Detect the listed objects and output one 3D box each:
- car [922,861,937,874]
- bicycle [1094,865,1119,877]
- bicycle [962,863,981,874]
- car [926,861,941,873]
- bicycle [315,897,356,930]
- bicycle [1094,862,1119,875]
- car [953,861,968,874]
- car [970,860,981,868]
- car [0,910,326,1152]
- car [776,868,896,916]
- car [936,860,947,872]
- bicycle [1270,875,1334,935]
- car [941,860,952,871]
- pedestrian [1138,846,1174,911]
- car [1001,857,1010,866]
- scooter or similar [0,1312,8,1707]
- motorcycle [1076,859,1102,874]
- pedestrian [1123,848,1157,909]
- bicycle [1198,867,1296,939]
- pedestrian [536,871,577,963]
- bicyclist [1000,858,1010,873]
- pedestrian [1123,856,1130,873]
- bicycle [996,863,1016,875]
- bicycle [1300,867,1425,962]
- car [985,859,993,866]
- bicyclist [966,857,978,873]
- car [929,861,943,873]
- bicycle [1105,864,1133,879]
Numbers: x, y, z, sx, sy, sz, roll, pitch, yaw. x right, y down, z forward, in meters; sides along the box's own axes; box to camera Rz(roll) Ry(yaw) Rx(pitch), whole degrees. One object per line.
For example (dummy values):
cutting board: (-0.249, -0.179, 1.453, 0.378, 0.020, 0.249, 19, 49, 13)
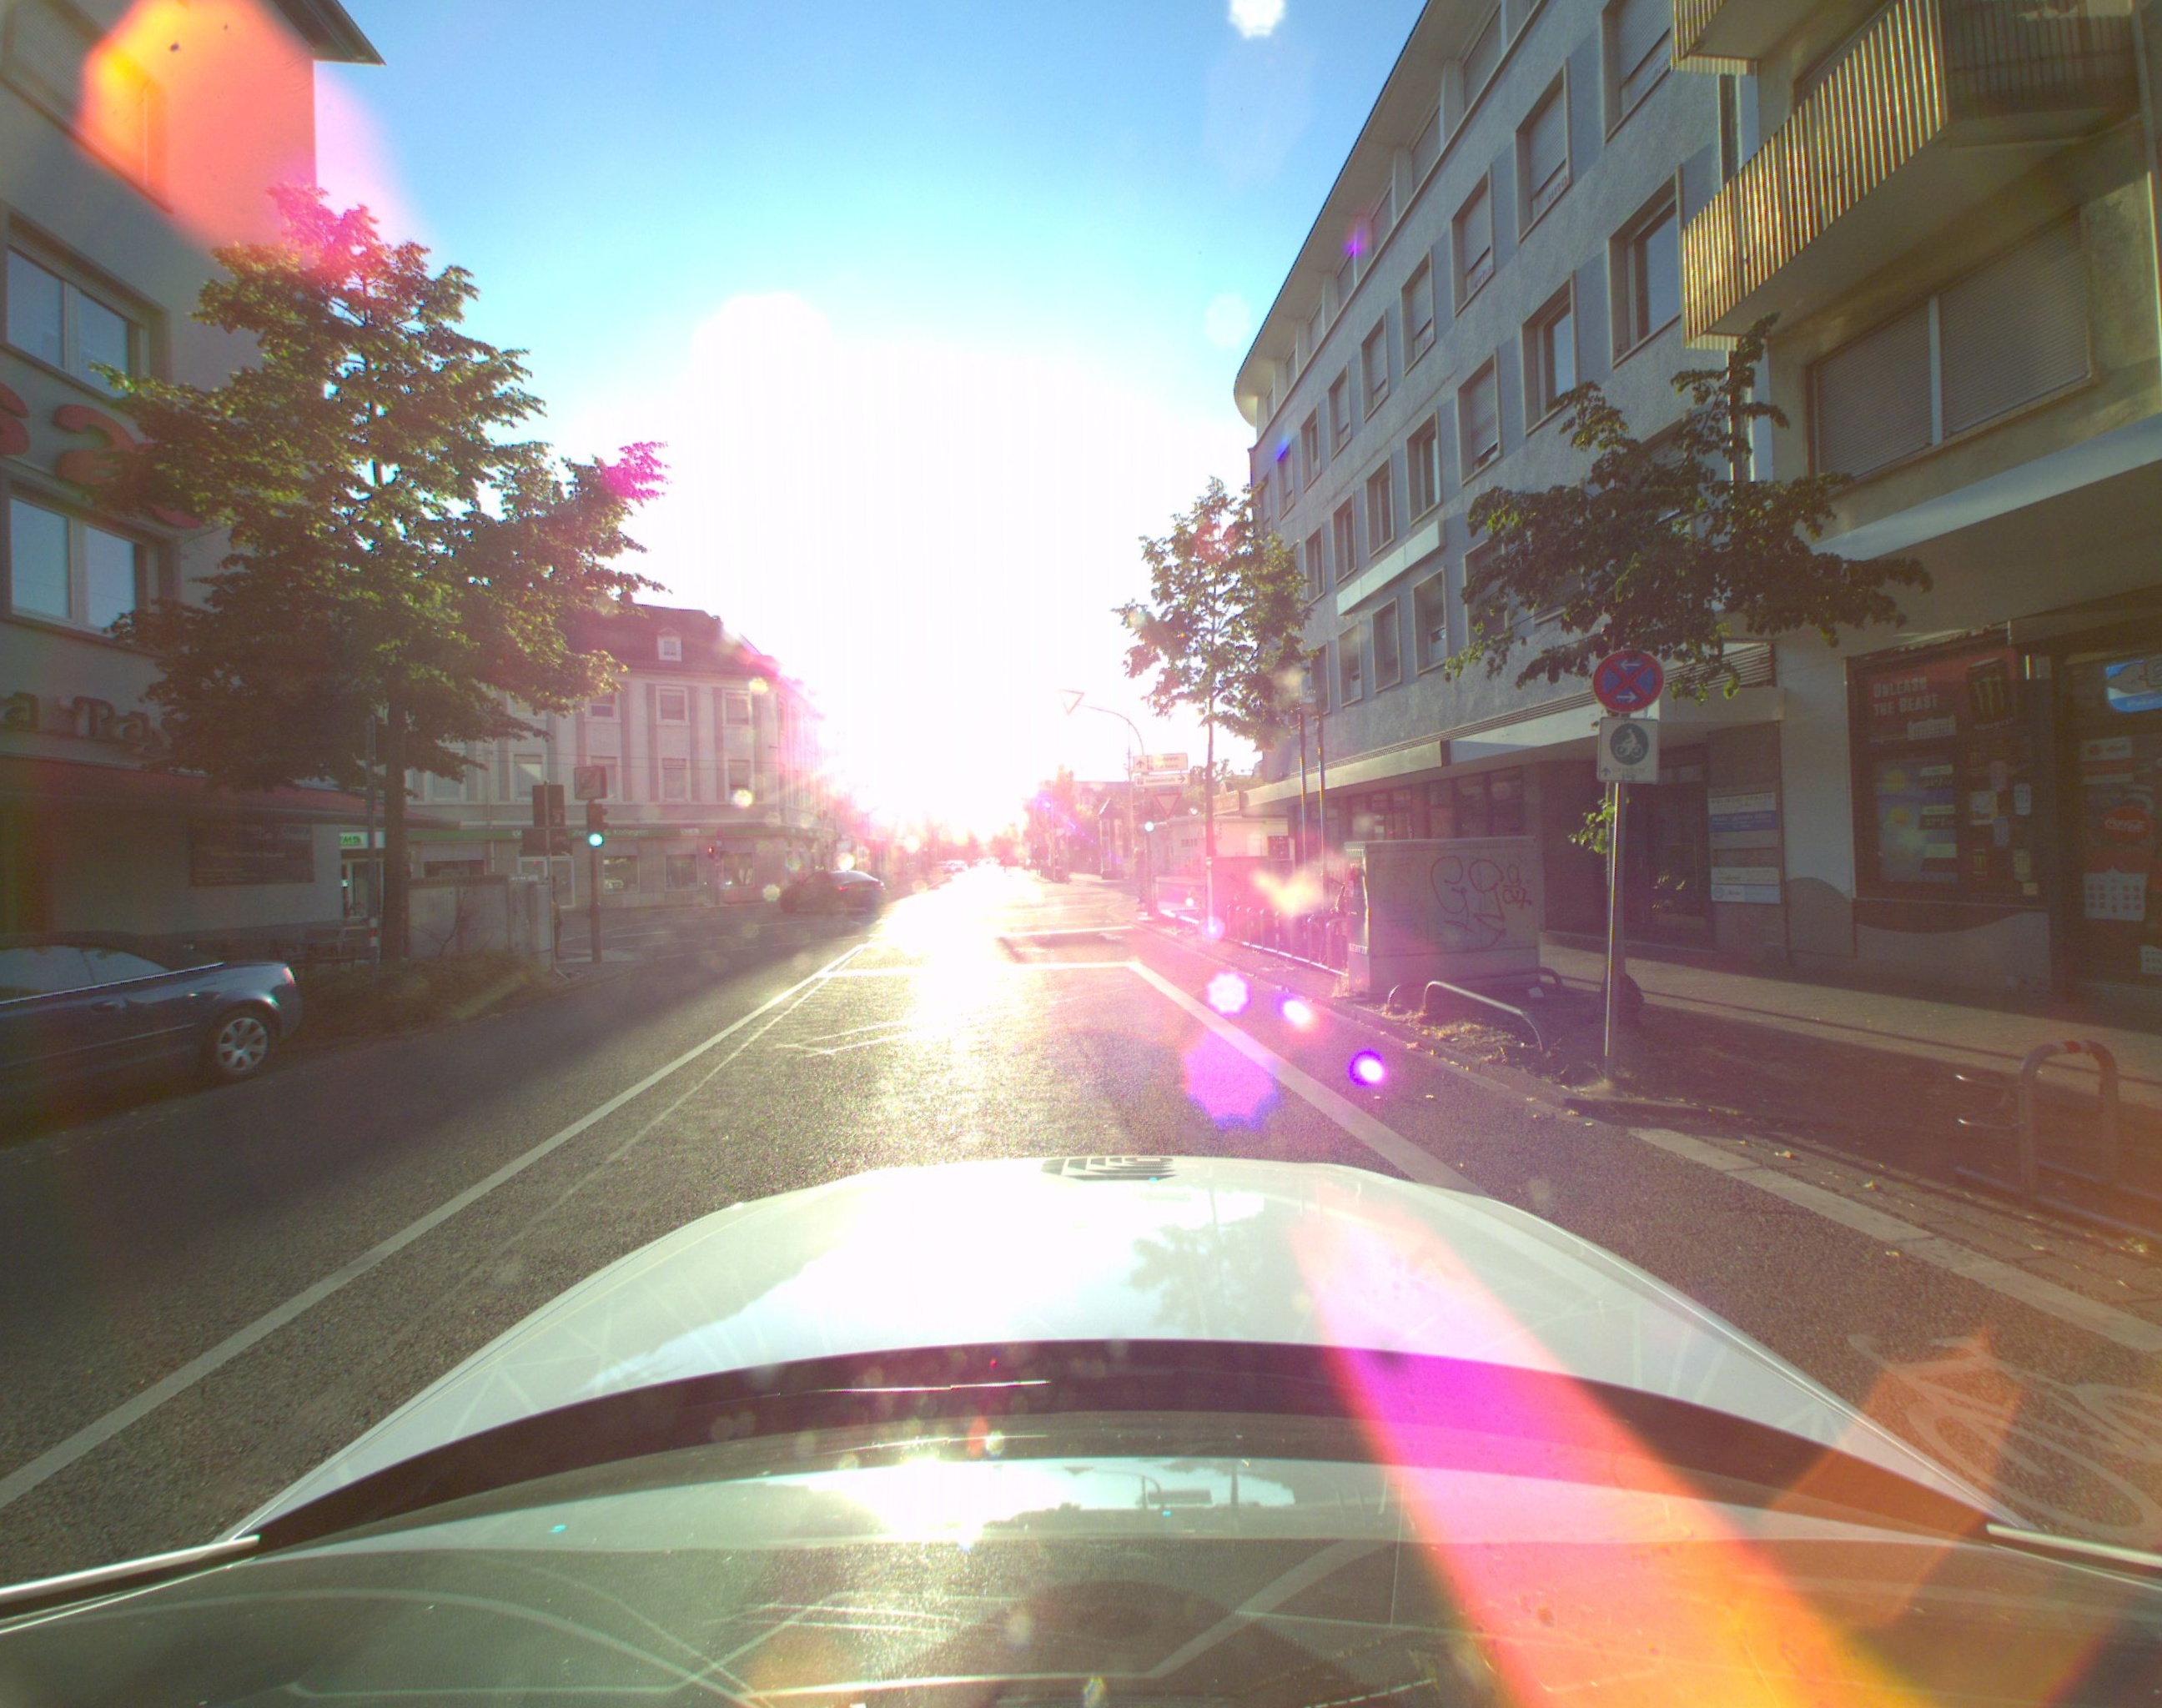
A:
car: (-18.035, 1.601, 97.009, 1.544, 1.483, 3.343, -2, 0, -7)
bicycle: (2.123, 1.398, 67.380, 2.070, 0.982, 0.560, -2, -1, 1)
bicycle: (-12.064, 1.638, 89.732, 2.102, 1.204, 0.502, -1, -1, 15)
car: (-18.249, 1.618, 100.645, 1.543, 1.469, 3.343, -1, -1, -7)
bicycle: (-27.134, 2.145, 29.673, 0.499, 1.059, 1.730, -1, 0, -21)
bicycle: (2.161, 1.236, 68.895, 2.031, 0.977, 0.560, -2, -1, 1)
car: (-14.327, 1.574, 96.864, 1.543, 1.468, 3.343, -1, -1, -7)
car: (-23.257, 2.127, 179.841, 1.990, 1.684, 3.993, -2, 0, -5)
car: (-7.619, 1.219, 5.317, 1.647, 1.353, 4.302, -2, 0, -6)
car: (-8.341, 1.228, 27.554, 4.485, 1.480, 1.908, -1, -2, 43)
car: (-19.185, 1.634, 112.278, 1.306, 1.582, 2.881, -1, -1, -7)
bicycle: (4.125, 0.933, 15.318, 0.403, 1.010, 1.663, -4, 0, -12)
car: (-19.470, 1.670, 118.062, 1.481, 1.559, 3.250, -1, -1, -7)
pedestrian: (2.128, 0.690, 23.187, 0.641, 1.773, 0.743, -2, 0, -27)
car: (-16.233, 1.620, 174.909, 1.990, 2.014, 3.992, 0, -1, -5)
scooter or similar: (-2.049, 0.882, 0.516, 0.543, 1.350, 1.668, -2, 0, -2)
motorcycle: (0.660, 1.085, 70.485, 2.228, 1.201, 0.720, -2, 0, -2)
pedestrian: (1.737, 0.719, 24.078, 0.589, 1.773, 0.741, -2, -1, -37)
bicycle: (2.994, 0.868, 14.660, 1.658, 1.194, 0.475, -2, 0, -12)
pedestrian: (-9.890, 1.162, 15.354, 0.589, 1.656, 0.791, -2, -1, -34)
bicyclist: (-7.977, 1.205, 85.780, 0.895, 1.482, 0.736, -1, -1, 5)
pedestrian: (4.527, 1.046, 81.114, 0.678, 1.657, 0.696, 0, -1, 1)
bicycle: (-7.909, 1.560, 85.769, 2.107, 1.204, 0.501, -1, -1, 4)
bicycle: (3.860, 0.801, 11.163, 1.662, 1.194, 0.490, -2, 0, -20)
car: (-27.098, 2.542, 240.004, 1.990, 1.816, 3.993, 0, -1, -5)
bicyclist: (-12.011, 1.188, 89.762, 1.120, 1.791, 0.768, -1, -1, 16)
car: (-18.790, 1.666, 105.585, 1.543, 1.469, 3.343, -1, -1, -7)
bicycle: (2.876, 1.329, 61.639, 2.013, 1.044, 0.560, -2, -1, 1)
